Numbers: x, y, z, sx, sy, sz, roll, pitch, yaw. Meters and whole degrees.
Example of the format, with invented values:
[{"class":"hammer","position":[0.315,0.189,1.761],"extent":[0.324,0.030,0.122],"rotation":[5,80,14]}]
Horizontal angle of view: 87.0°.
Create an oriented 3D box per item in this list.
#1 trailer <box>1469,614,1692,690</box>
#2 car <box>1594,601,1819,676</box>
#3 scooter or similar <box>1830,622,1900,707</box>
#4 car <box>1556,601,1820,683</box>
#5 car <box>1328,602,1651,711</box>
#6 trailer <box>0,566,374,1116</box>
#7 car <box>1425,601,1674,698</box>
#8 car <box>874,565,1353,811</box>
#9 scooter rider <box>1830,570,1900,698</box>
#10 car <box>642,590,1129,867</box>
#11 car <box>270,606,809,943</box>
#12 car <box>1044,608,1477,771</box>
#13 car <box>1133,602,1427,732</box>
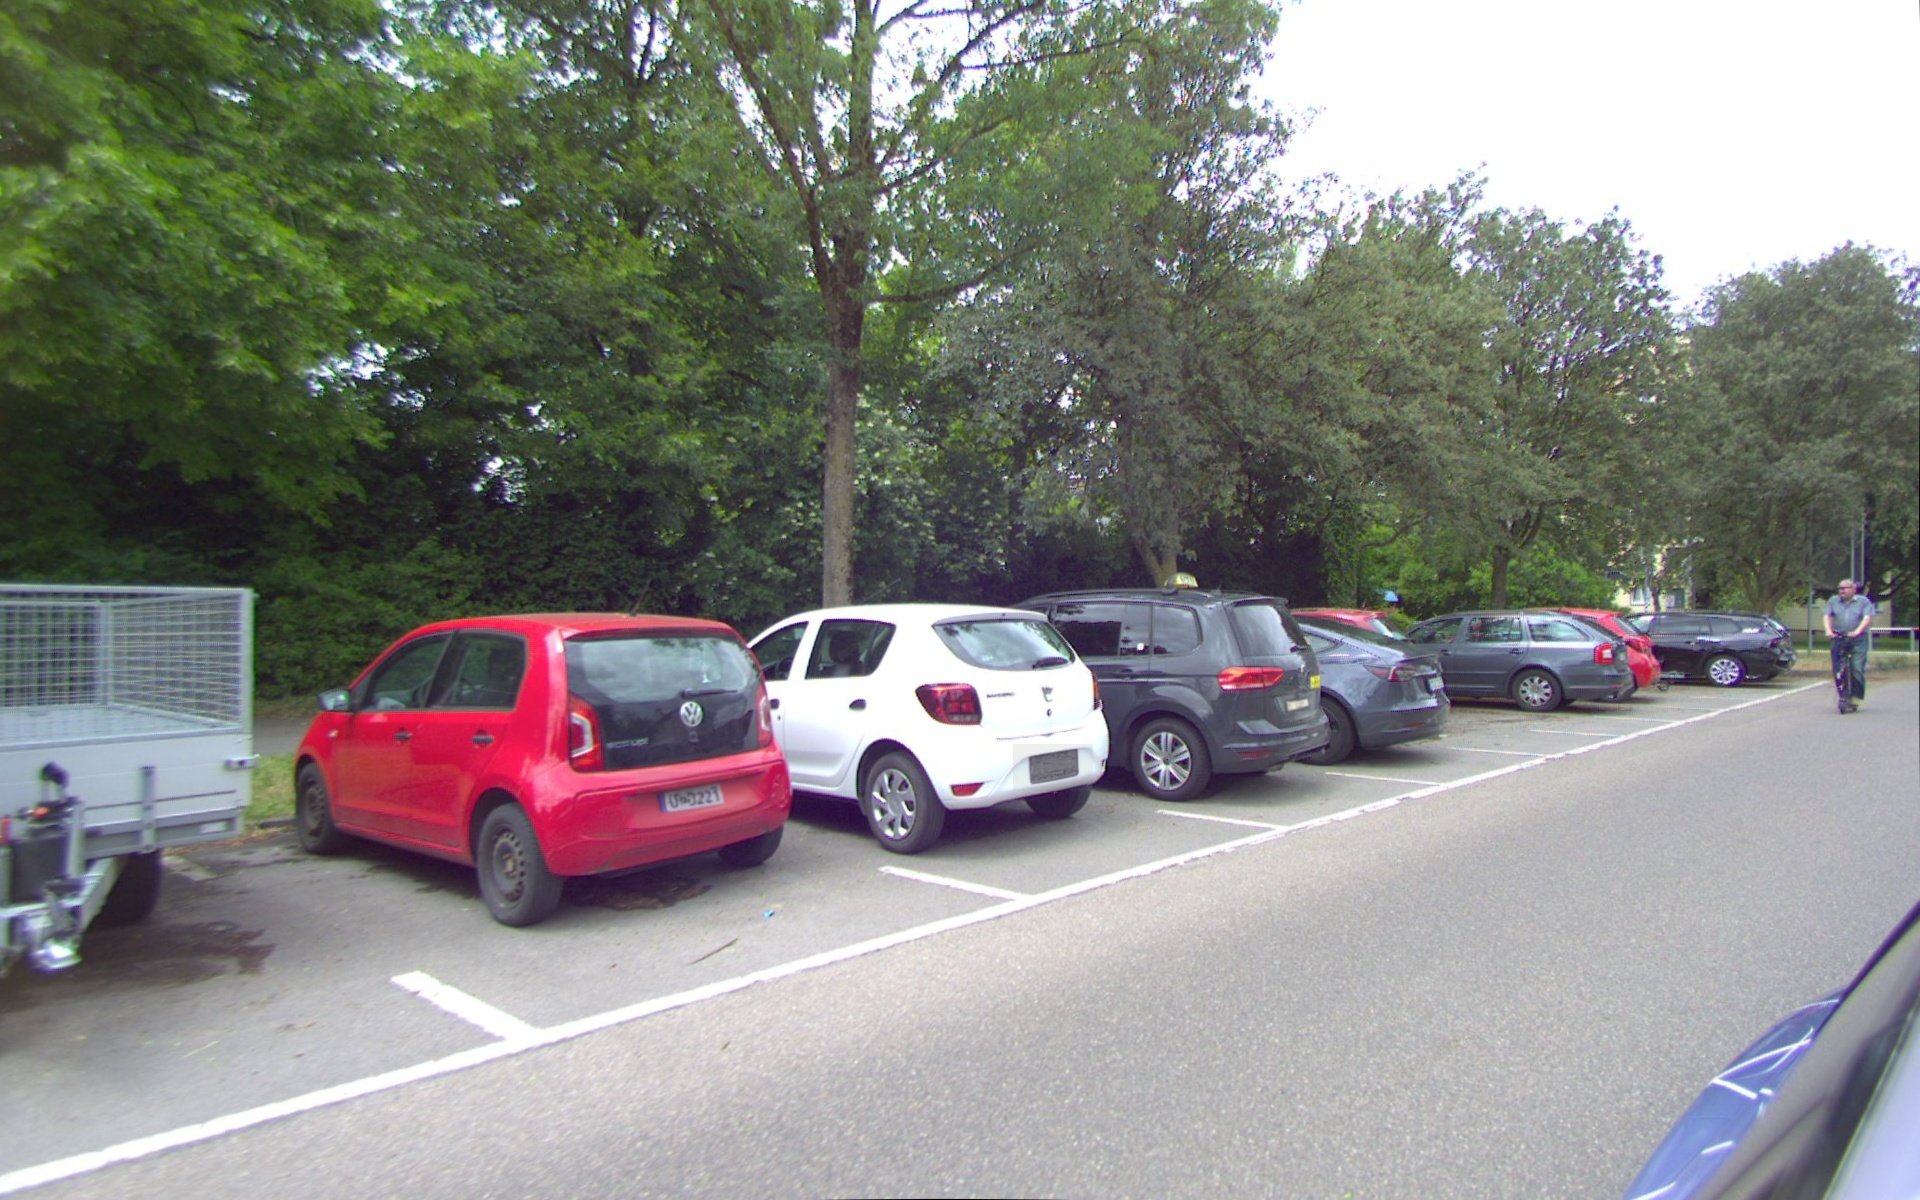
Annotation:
[{"class":"trailer","position":[11.664,0.911,19.126],"extent":[3.397,1.283,1.593],"rotation":[-1,0,41]},{"class":"car","position":[16.179,0.795,22.078],"extent":[1.549,1.495,3.719],"rotation":[2,-2,-42]},{"class":"scooter or similar","position":[12.993,0.891,14.522],"extent":[0.681,1.154,1.436],"rotation":[-1,-2,44]},{"class":"car","position":[14.388,0.786,20.187],"extent":[4.127,1.495,1.554],"rotation":[-1,-1,39]},{"class":"car","position":[8.139,0.794,15.807],"extent":[4.215,1.483,1.610],"rotation":[-1,-1,41]},{"class":"trailer","position":[-4.050,0.717,4.170],"extent":[3.681,1.555,1.623],"rotation":[-1,-2,39]},{"class":"car","position":[10.032,0.785,17.336],"extent":[3.515,1.495,1.570],"rotation":[-1,-1,38]},{"class":"car","position":[1.235,0.645,9.094],"extent":[3.978,1.747,1.657],"rotation":[-1,-1,39]},{"class":"scooter rider","position":[12.990,0.472,14.521],"extent":[0.681,1.752,1.177],"rotation":[-1,-2,44]},{"class":"car","position":[-0.759,0.734,7.590],"extent":[1.579,1.549,3.823],"rotation":[0,-1,-44]},{"class":"car","position":[-2.654,0.782,6.095],"extent":[3.417,1.464,1.538],"rotation":[-1,-1,38]},{"class":"car","position":[3.081,0.814,10.877],"extent":[4.152,1.424,1.674],"rotation":[-1,-1,39]},{"class":"car","position":[4.132,0.784,13.280],"extent":[3.322,1.483,1.610],"rotation":[-1,-1,41]}]
